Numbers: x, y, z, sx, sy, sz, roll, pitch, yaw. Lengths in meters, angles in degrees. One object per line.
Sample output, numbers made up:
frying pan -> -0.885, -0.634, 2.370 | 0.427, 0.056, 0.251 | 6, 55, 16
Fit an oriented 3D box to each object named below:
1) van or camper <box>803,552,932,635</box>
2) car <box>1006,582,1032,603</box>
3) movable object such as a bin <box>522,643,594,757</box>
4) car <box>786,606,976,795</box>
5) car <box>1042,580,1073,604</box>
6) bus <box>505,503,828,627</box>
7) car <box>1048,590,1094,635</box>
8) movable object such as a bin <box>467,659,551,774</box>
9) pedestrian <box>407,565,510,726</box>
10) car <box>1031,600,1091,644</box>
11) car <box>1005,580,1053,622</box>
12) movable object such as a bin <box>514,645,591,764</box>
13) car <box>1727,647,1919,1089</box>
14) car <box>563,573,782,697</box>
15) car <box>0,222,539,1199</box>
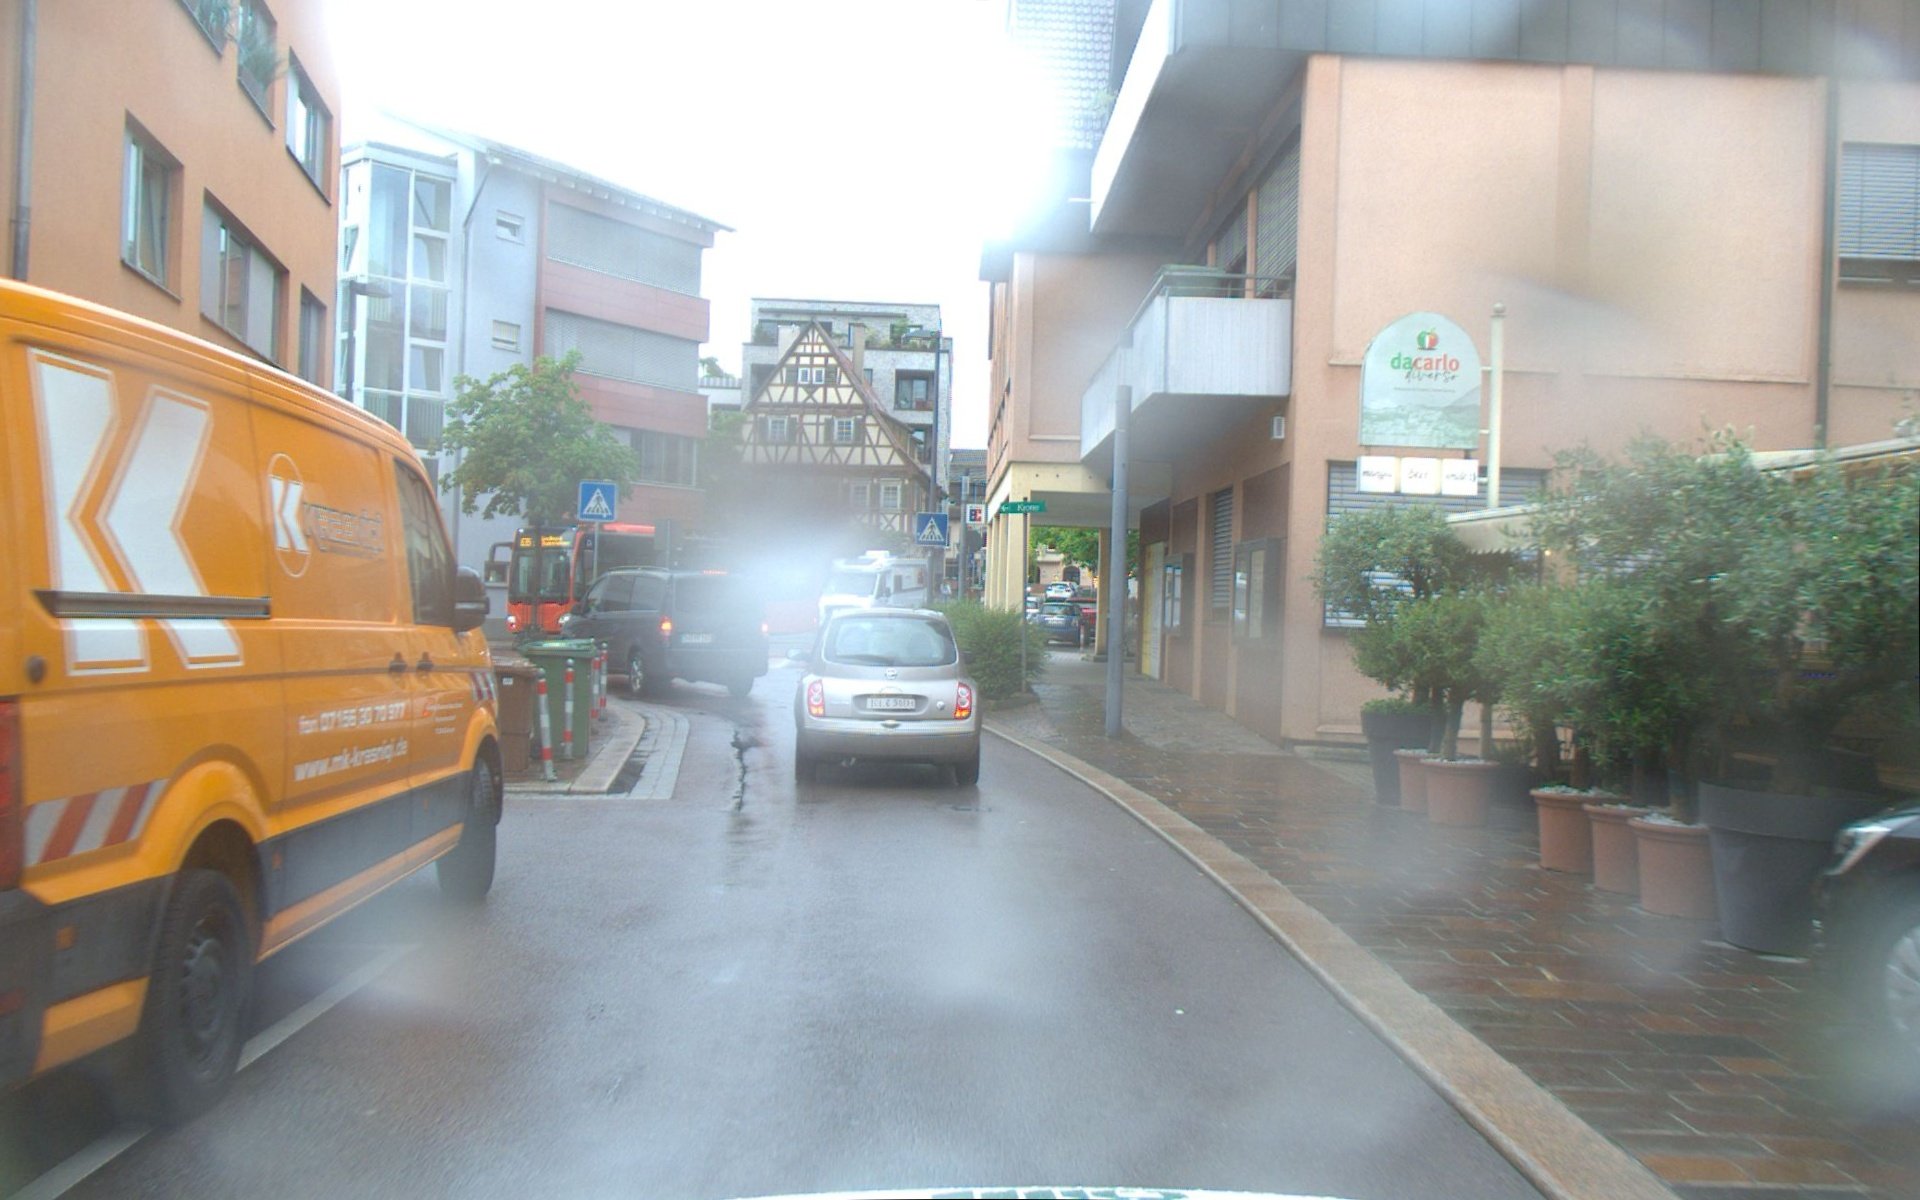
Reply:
van or camper -> -3.084, -0.186, 57.244 | 2.386, 2.630, 6.755 | 2, 0, 15
car -> 4.393, -0.529, 123.997 | 1.857, 1.534, 3.910 | 1, 0, 1
movable object such as a bin -> -3.883, 0.961, 16.019 | 0.645, 1.055, 0.608 | 1, 0, -12
car -> -0.823, 0.847, 15.418 | 1.493, 1.496, 3.336 | 1, 1, -7
car -> 6.432, -0.495, 109.496 | 1.857, 1.534, 3.910 | 1, 0, 1
bus -> -8.134, -0.912, 47.919 | 2.762, 3.142, 10.580 | 3, 1, 32
car -> 4.076, 0.427, 60.227 | 1.590, 1.527, 4.002 | -1, 0, 5
movable object such as a bin -> -3.888, 0.996, 14.272 | 0.570, 0.943, 0.481 | 2, 0, -2
pedestrian -> -5.953, 0.525, 19.662 | 0.649, 1.838, 1.061 | 1, 0, 18
car -> 3.401, 0.712, 55.169 | 1.504, 1.385, 3.376 | 2, 0, 12
car -> 2.733, 0.046, 66.280 | 1.857, 1.601, 4.001 | 1, 0, 1
movable object such as a bin -> -3.763, 0.962, 15.317 | 0.645, 1.055, 0.608 | 1, 0, -12
car -> 4.346, 0.892, 4.533 | 1.711, 1.381, 3.905 | 1, 0, -25
car -> -4.720, 0.496, 26.568 | 1.927, 1.812, 4.678 | 1, 0, -31
car -> -3.158, 0.319, 6.327 | 1.954, 2.279, 5.856 | 1, 0, -4
